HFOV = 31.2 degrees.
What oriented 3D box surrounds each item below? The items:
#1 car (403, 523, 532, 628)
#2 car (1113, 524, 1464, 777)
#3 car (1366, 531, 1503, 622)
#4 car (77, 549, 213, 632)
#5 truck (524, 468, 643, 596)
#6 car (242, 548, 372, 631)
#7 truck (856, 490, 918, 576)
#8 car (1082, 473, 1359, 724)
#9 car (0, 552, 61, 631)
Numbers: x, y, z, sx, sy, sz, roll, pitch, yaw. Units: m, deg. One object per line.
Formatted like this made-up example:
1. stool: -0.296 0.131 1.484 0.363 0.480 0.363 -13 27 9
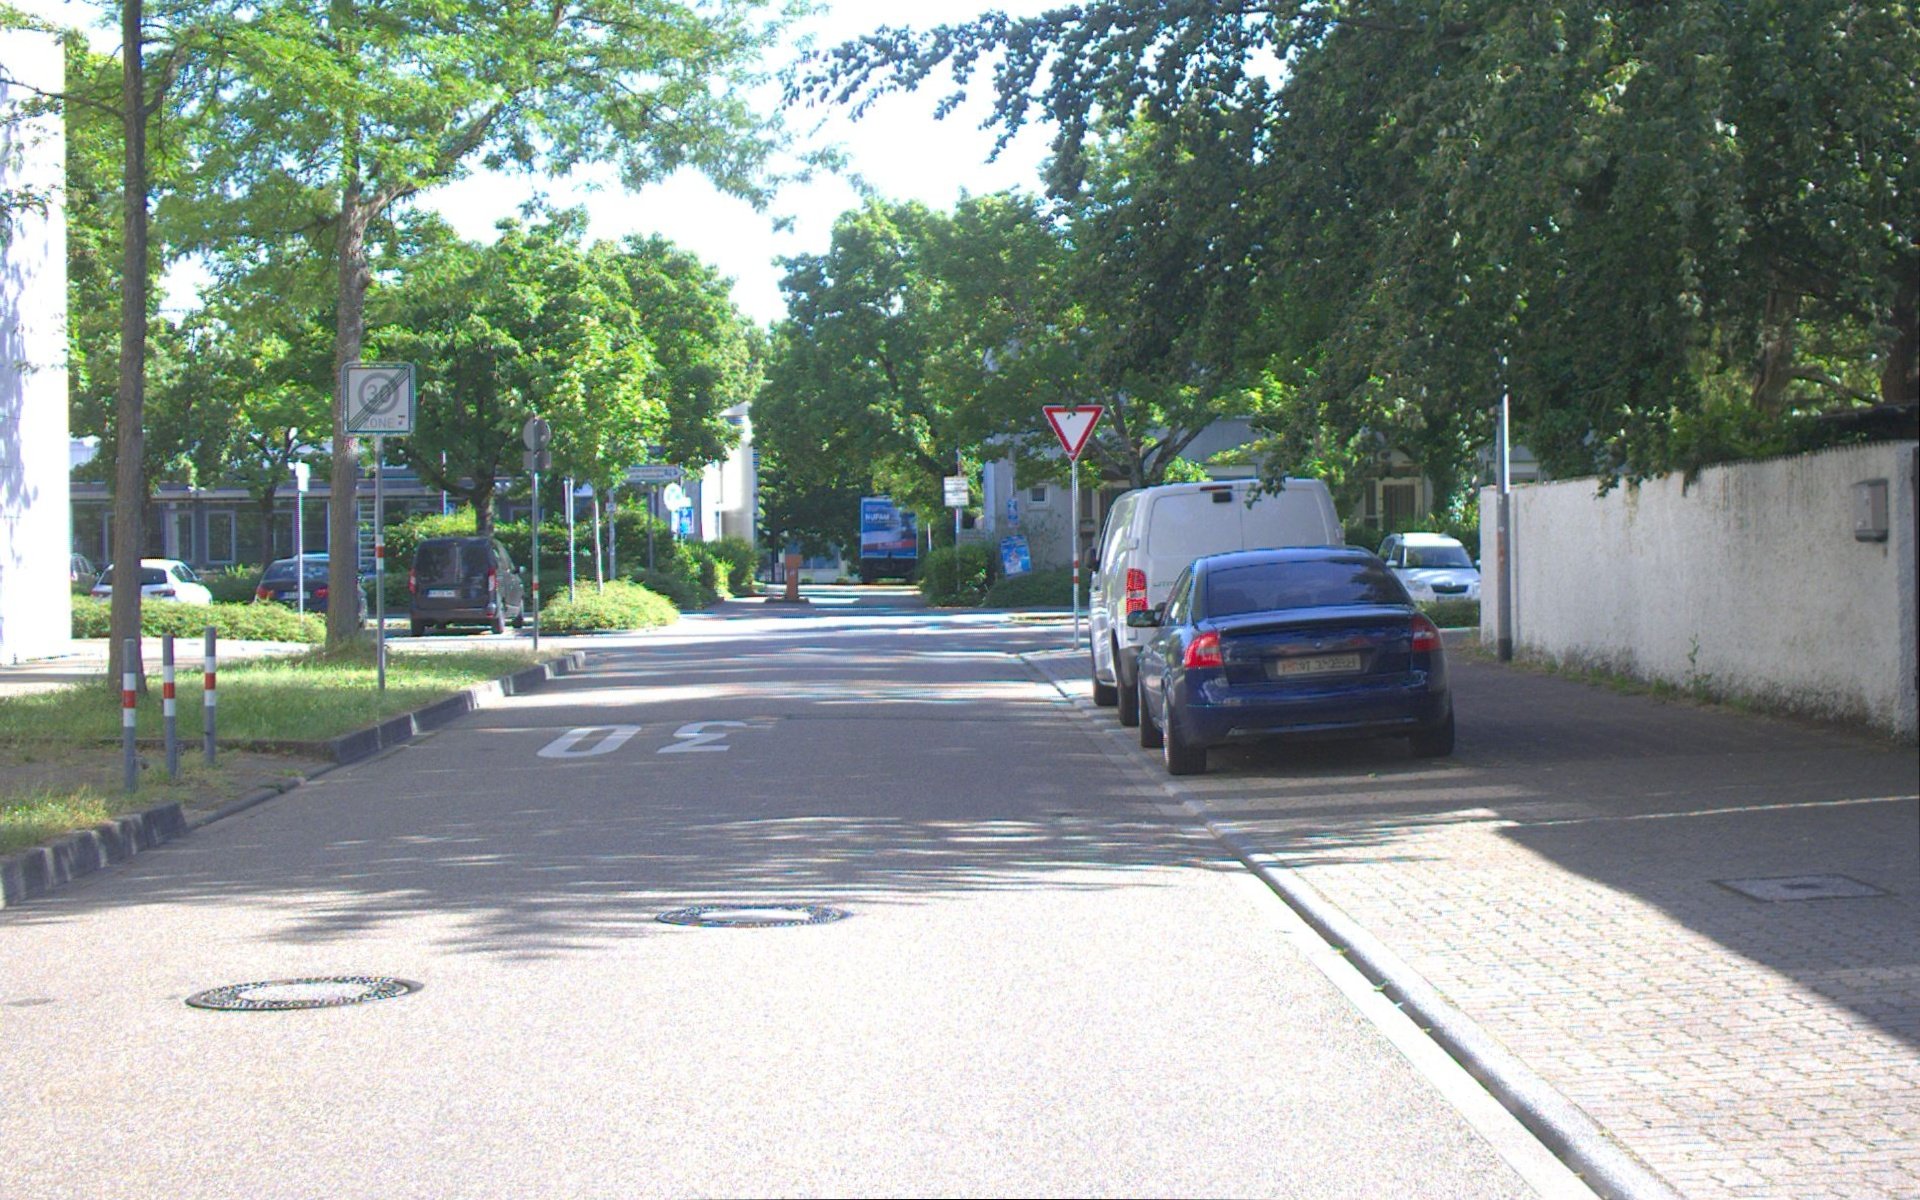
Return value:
1. car: -9.255 -0.500 64.911 1.874 1.840 4.169 -1 2 -1
2. car: 2.077 0.269 22.851 1.825 1.418 4.283 -4 1 0
3. car: 8.929 -0.479 65.010 1.823 1.592 4.169 -1 2 -3
4. car: -15.380 -0.206 65.025 1.802 1.431 3.913 0 2 -3
5. truck: -11.561 -2.101 106.115 2.802 3.793 6.924 1 1 1
6. car: -12.278 -0.218 64.851 1.823 1.401 4.169 -1 2 -3
7. truck: -3.349 -3.089 159.744 2.760 3.856 9.330 1 1 -1
8. car: 2.108 -0.053 29.163 1.898 1.907 5.148 -1 1 0
9. car: -18.118 -0.179 64.453 1.667 1.421 3.912 1 1 -3
